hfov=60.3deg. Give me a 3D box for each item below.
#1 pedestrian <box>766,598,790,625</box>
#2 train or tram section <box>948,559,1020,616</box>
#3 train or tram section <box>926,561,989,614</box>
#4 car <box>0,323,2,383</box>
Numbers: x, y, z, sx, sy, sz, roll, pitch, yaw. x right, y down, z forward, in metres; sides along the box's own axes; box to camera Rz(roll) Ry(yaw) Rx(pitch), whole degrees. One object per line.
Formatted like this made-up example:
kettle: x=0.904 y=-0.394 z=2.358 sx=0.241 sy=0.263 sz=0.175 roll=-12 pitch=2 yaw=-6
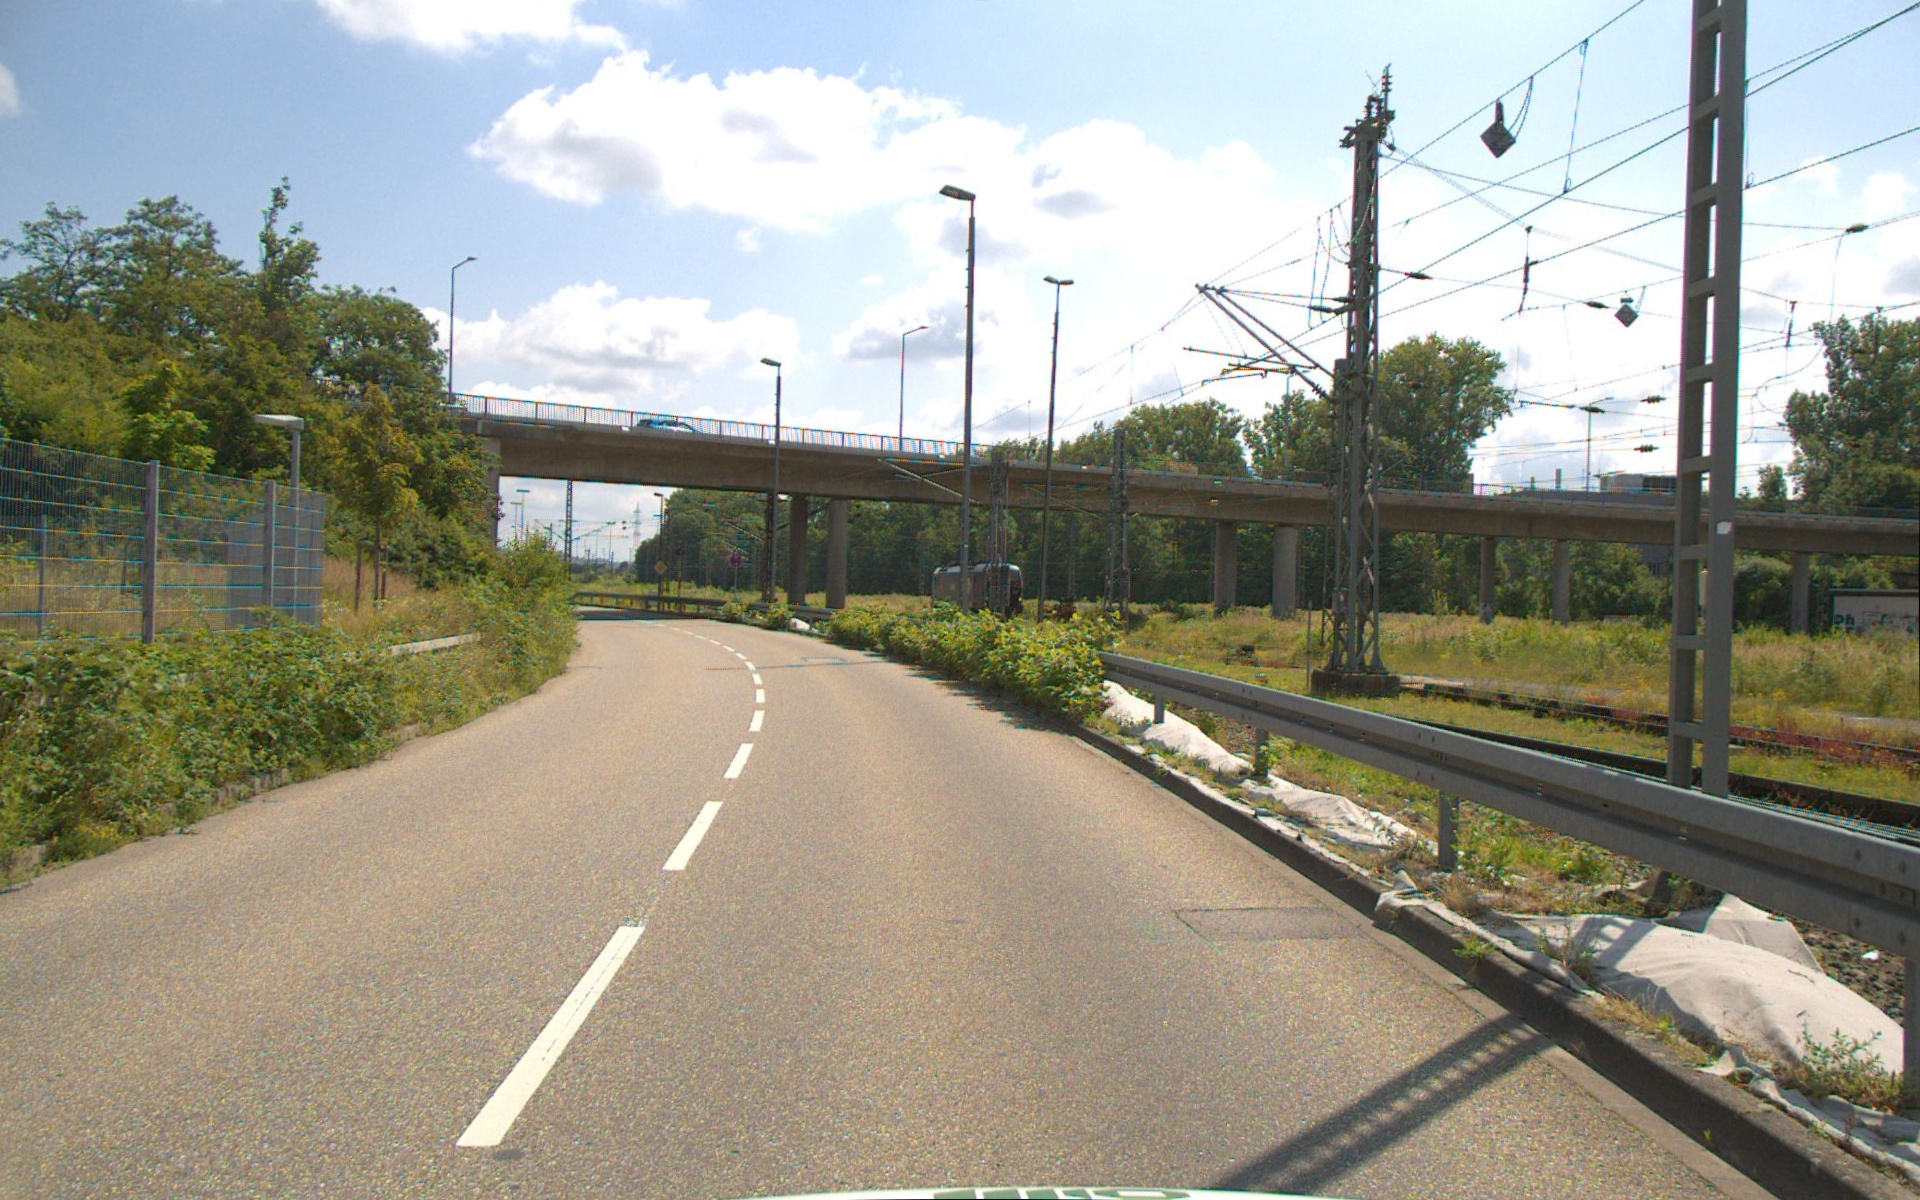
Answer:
pedestrian: x=-10.616 y=0.657 z=96.506 sx=1.092 sy=1.567 sz=1.572 roll=1 pitch=-1 yaw=-16
train or tram section: x=1.505 y=-0.792 z=109.521 sx=2.840 sy=3.570 sz=8.537 roll=1 pitch=-1 yaw=-13
train or tram section: x=-0.272 y=-0.833 z=117.779 sx=2.708 sy=3.538 sz=8.212 roll=1 pitch=-1 yaw=-13
car: x=-35.647 y=-8.560 z=55.955 sx=1.961 sy=2.049 sz=5.315 roll=-2 pitch=-1 yaw=37
